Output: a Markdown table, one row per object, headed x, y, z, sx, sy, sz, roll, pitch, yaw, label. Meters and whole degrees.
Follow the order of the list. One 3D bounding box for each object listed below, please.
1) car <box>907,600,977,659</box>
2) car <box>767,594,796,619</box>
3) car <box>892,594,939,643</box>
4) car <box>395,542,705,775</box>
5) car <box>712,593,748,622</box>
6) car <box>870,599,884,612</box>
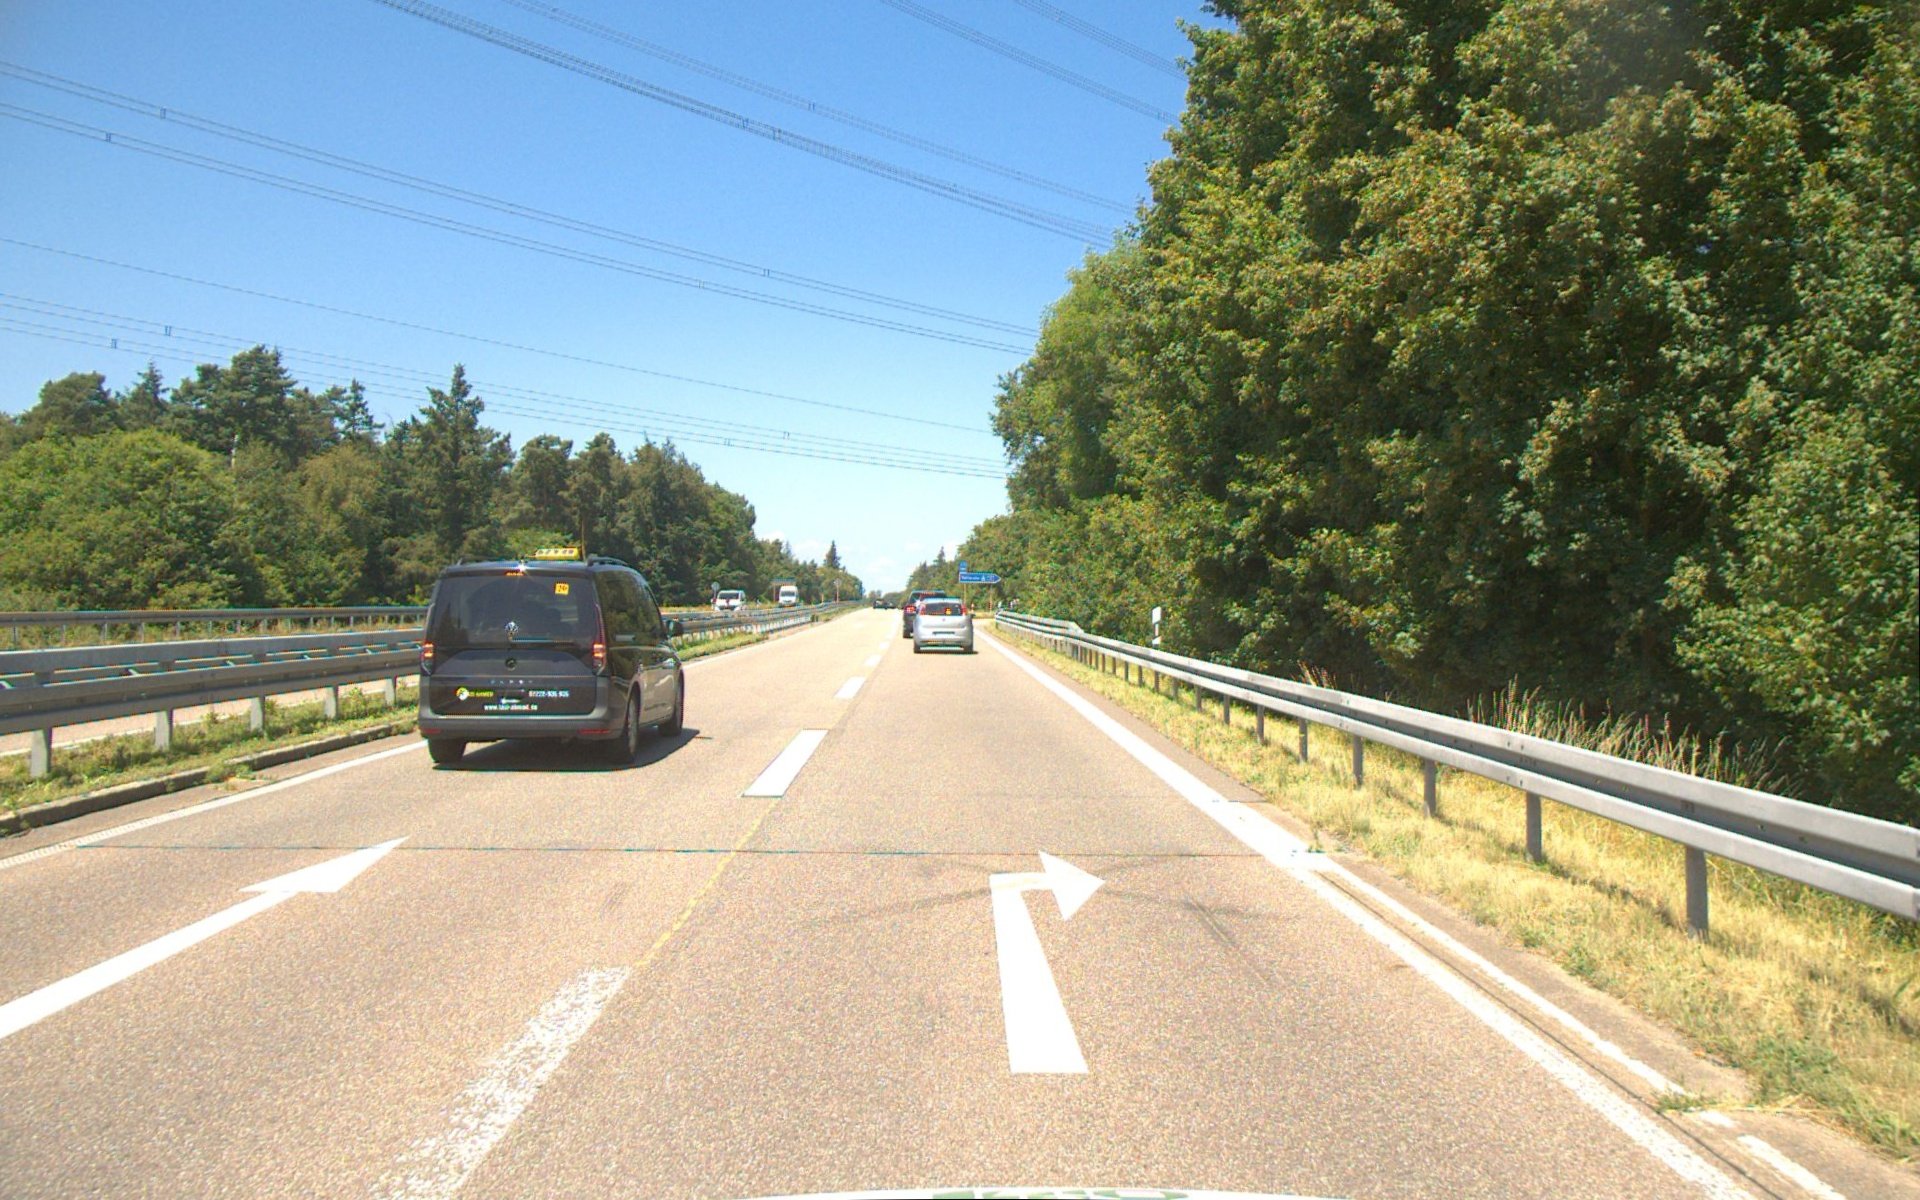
| x | y | z | sx | sy | sz | roll | pitch | yaw | label |
| --- | --- | --- | --- | --- | --- | --- | --- | --- | --- |
| -0.535 | 0.793 | 45.853 | 1.609 | 1.493 | 3.415 | 3 | 0 | -6 | car |
| -20.468 | 0.745 | 189.642 | 2.473 | 2.664 | 7.185 | -1 | 0 | 0 | car |
| -1.695 | 0.674 | 61.619 | 1.608 | 1.682 | 3.572 | 3 | 0 | -3 | car |
| -3.806 | 0.496 | 16.435 | 1.817 | 1.920 | 5.571 | 0 | 0 | -2 | car |
| -16.570 | 0.558 | 119.594 | 1.852 | 2.027 | 5.532 | 0 | 0 | 0 | car |
| -10.794 | 0.716 | 214.110 | 1.678 | 1.497 | 3.572 | 3 | 0 | -2 | car |
